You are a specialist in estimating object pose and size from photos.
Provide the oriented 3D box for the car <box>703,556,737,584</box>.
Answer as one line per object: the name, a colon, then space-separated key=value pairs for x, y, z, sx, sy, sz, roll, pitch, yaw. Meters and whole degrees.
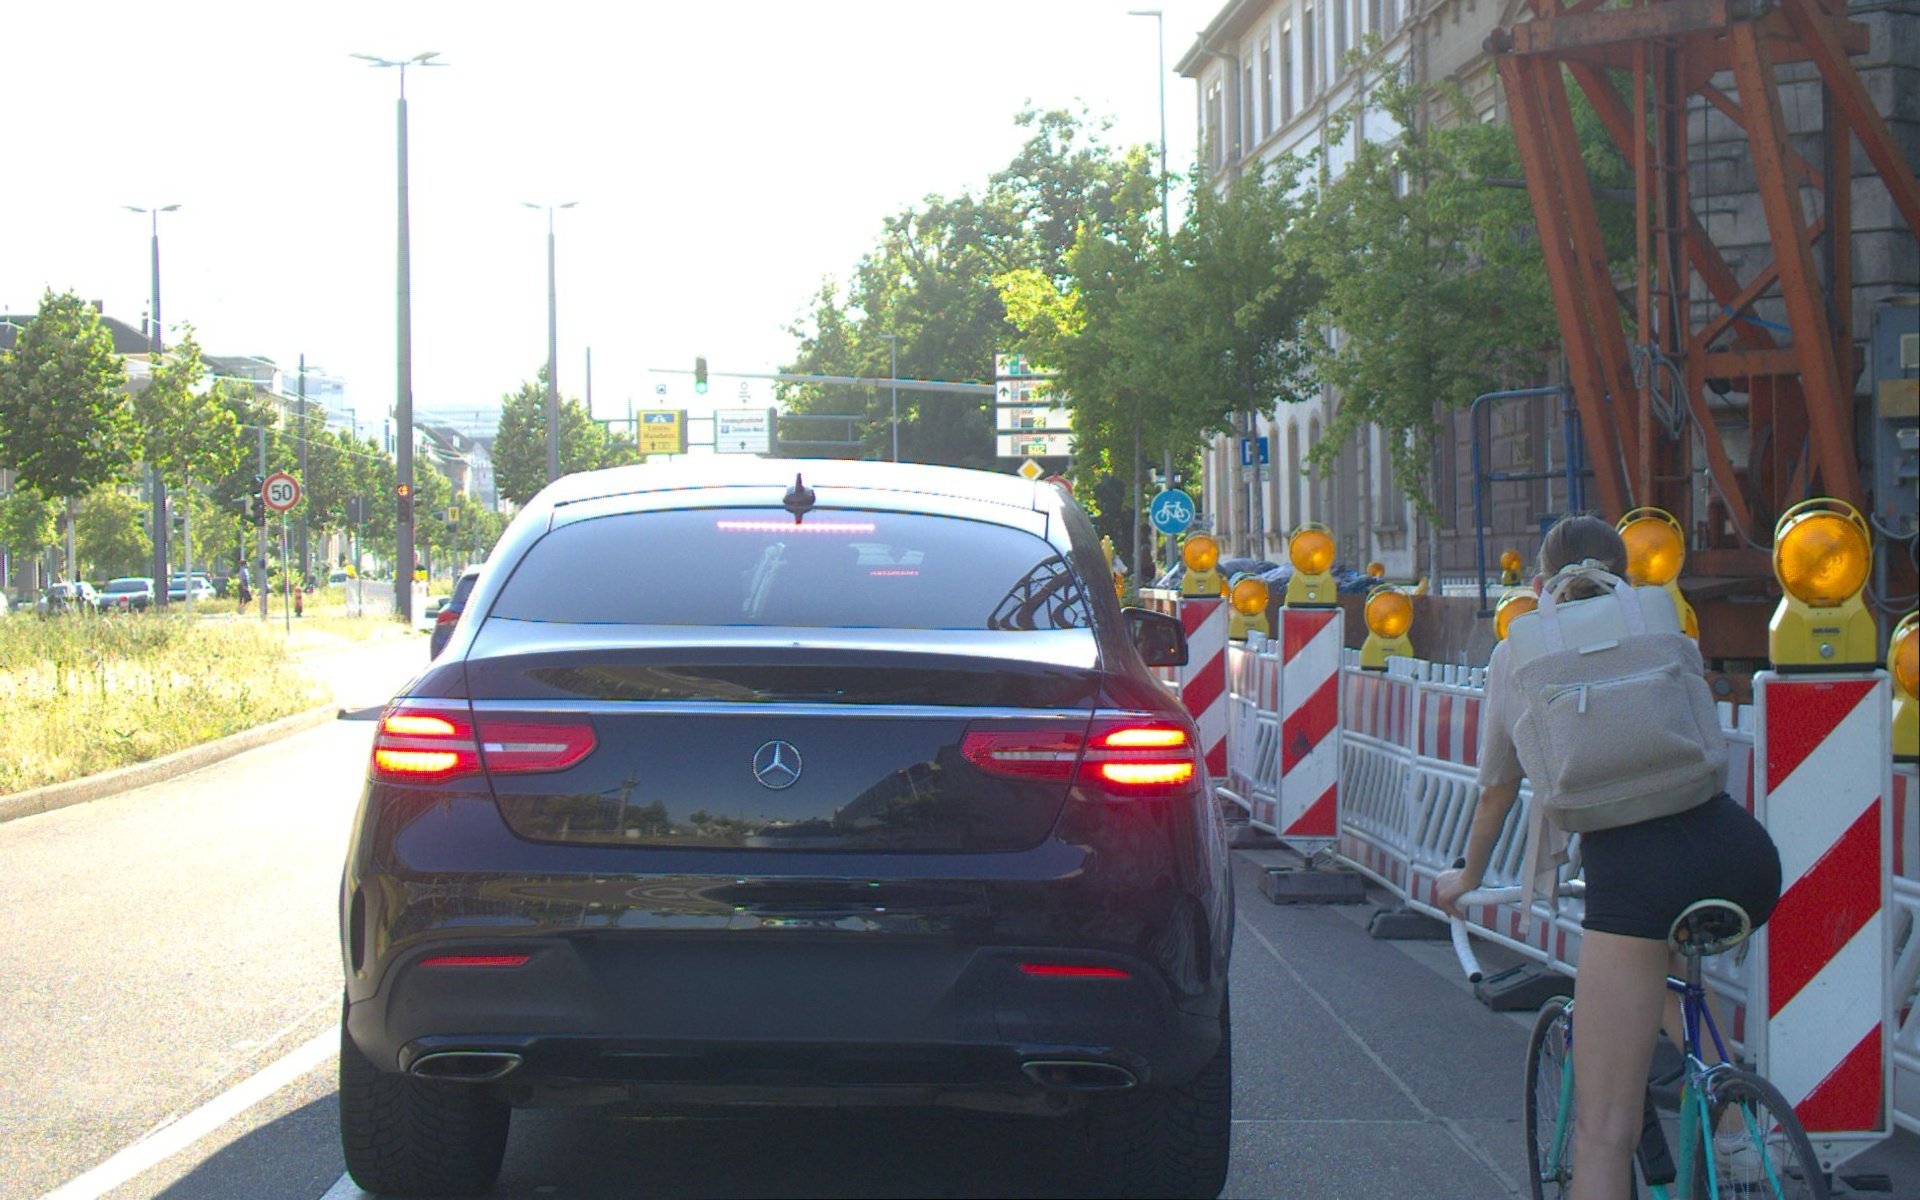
car: x=-12.862 y=-1.621 z=184.218 sx=1.708 sy=1.437 sz=3.583 roll=1 pitch=1 yaw=-3

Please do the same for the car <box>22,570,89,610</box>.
car: x=-34.315 y=-0.386 z=130.504 sx=1.708 sy=1.437 sz=3.583 roll=1 pitch=1 yaw=-3

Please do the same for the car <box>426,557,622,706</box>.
car: x=-4.438 y=0.290 z=35.385 sx=1.708 sy=1.437 sz=3.583 roll=1 pitch=1 yaw=-3

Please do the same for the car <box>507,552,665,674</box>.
car: x=-4.608 y=0.135 z=42.739 sx=1.708 sy=1.437 sz=3.583 roll=1 pitch=1 yaw=-3

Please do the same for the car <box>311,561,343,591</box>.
car: x=-42.865 y=-1.650 z=232.795 sx=1.993 sy=2.007 sz=4.001 roll=1 pitch=1 yaw=-12

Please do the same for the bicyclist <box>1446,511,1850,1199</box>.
bicyclist: x=1.163 y=0.551 z=5.904 sx=0.522 sy=1.391 sz=0.615 roll=1 pitch=0 yaw=-3

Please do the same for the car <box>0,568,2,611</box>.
car: x=-33.460 y=-0.355 z=115.500 sx=1.708 sy=1.437 sz=3.583 roll=1 pitch=1 yaw=-3

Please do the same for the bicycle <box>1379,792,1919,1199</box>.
bicycle: x=1.149 y=0.920 z=6.033 sx=0.512 sy=1.048 sz=1.725 roll=1 pitch=1 yaw=-3

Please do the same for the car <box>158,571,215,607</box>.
car: x=-31.934 y=-0.471 z=141.995 sx=1.708 sy=1.437 sz=3.583 roll=1 pitch=1 yaw=-3

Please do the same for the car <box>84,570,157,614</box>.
car: x=-28.002 y=-0.274 z=114.786 sx=1.708 sy=1.437 sz=3.583 roll=1 pitch=1 yaw=-3

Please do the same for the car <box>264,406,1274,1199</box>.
car: x=-0.404 y=0.489 z=8.856 sx=1.993 sy=1.766 sz=4.000 roll=1 pitch=1 yaw=-1
